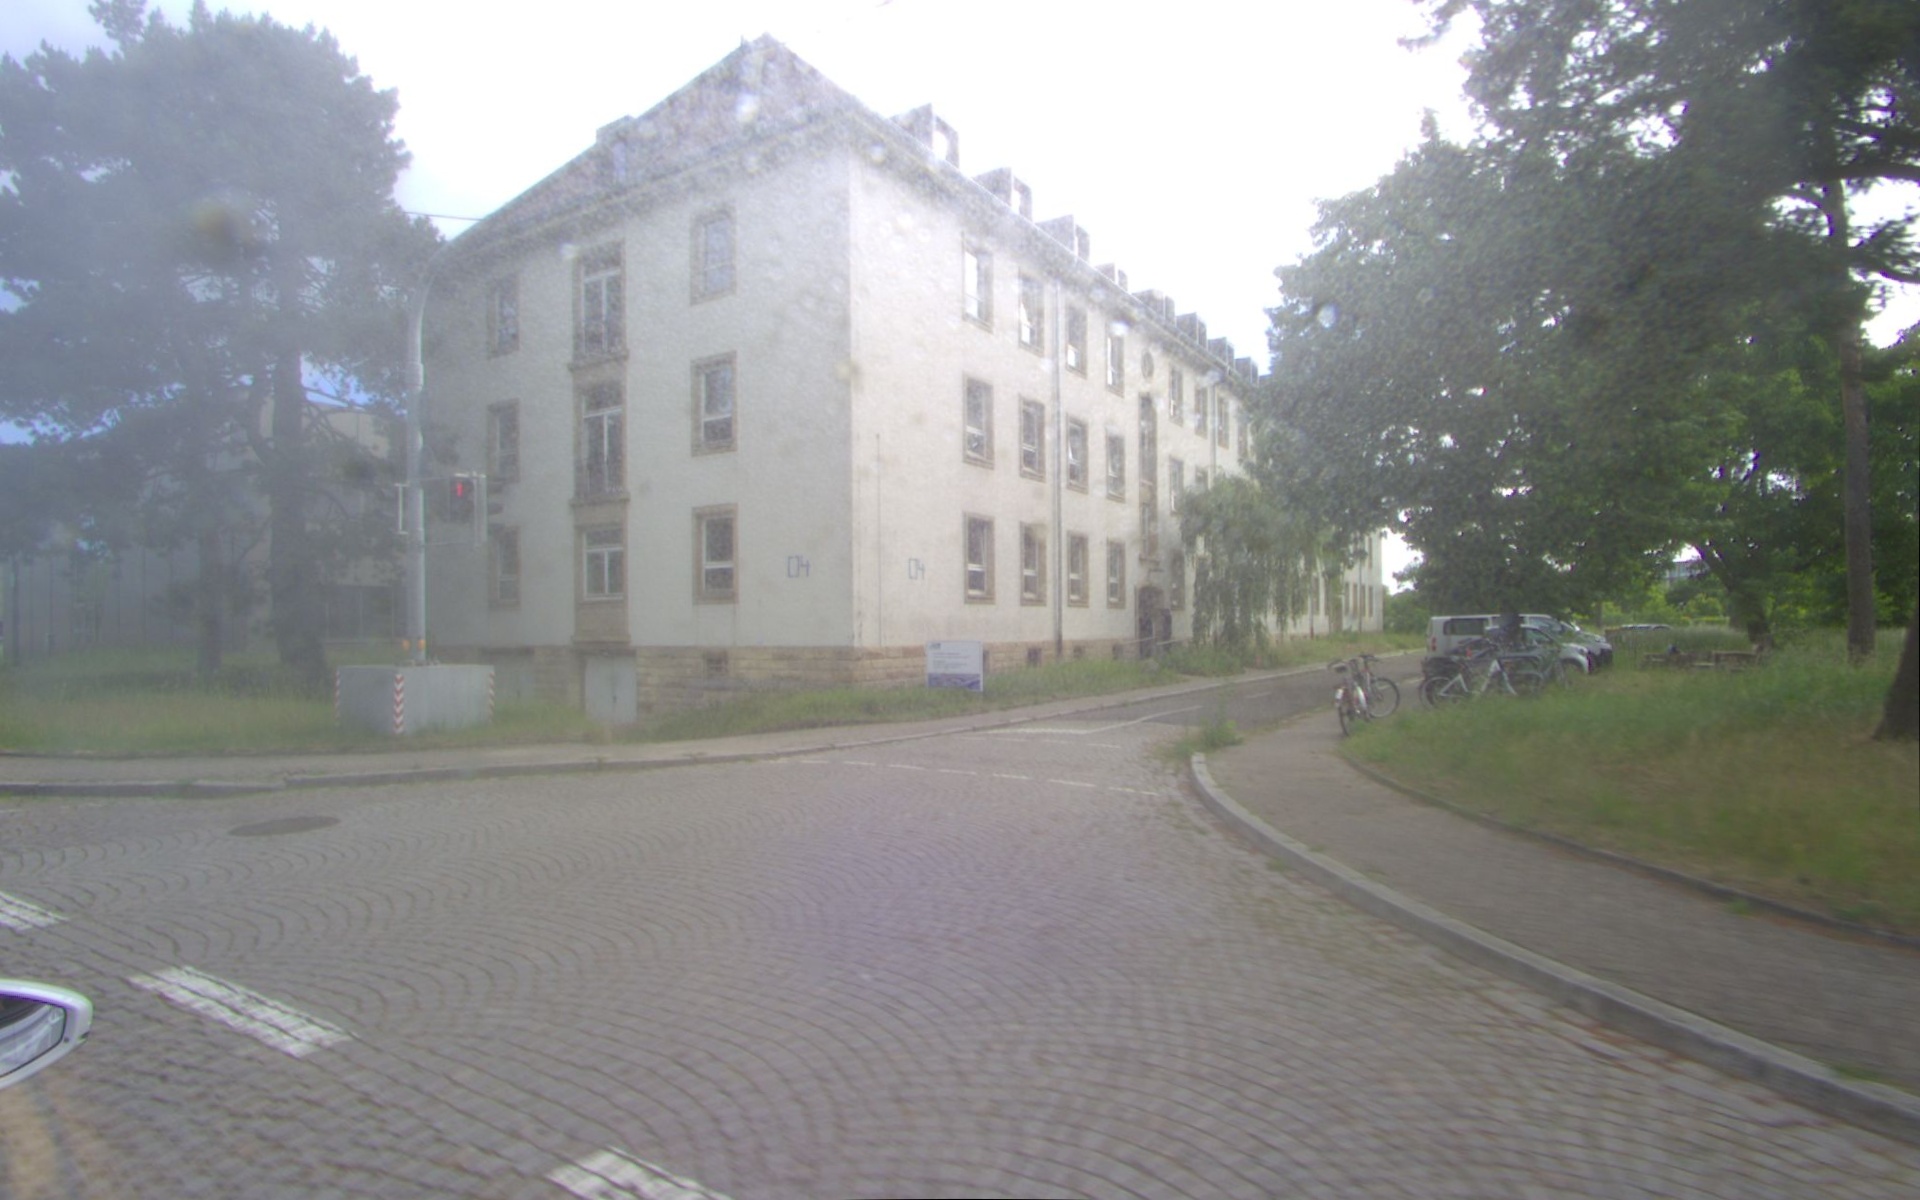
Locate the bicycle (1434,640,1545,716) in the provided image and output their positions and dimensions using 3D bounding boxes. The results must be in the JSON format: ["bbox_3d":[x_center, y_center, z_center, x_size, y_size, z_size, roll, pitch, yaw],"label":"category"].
[{"bbox_3d":[9.038,1.303,17.128,1.618,1.231,0.539,-1,-1,38],"label":"bicycle"}]

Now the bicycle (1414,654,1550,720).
[{"bbox_3d":[8.370,1.370,16.095,1.878,0.961,0.539,-1,-1,38],"label":"bicycle"}]

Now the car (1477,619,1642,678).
[{"bbox_3d":[16.777,1.311,28.098,3.878,1.550,1.852,-1,-1,34],"label":"car"}]

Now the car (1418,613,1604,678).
[{"bbox_3d":[17.286,1.399,31.697,4.775,1.934,2.237,0,-1,17],"label":"car"}]

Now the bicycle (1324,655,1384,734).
[{"bbox_3d":[5.526,1.295,14.008,0.522,0.992,1.618,0,-1,31],"label":"bicycle"}]

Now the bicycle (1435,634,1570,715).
[{"bbox_3d":[9.438,1.260,17.472,2.022,1.337,0.436,-1,-1,38],"label":"bicycle"}]

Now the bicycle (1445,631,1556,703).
[{"bbox_3d":[10.439,1.268,19.367,1.829,1.337,0.553,-1,-1,38],"label":"bicycle"}]

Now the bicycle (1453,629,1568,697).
[{"bbox_3d":[11.757,1.319,21.430,2.076,1.385,0.754,-1,-1,38],"label":"bicycle"}]

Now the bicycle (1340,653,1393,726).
[{"bbox_3d":[6.329,1.363,15.570,0.535,1.027,1.534,0,-1,31],"label":"bicycle"}]

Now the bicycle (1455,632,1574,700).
[{"bbox_3d":[11.481,1.335,20.764,2.105,1.337,0.553,-1,-1,38],"label":"bicycle"}]

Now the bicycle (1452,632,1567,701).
[{"bbox_3d":[11.125,1.314,20.319,1.990,1.337,0.538,-1,-1,38],"label":"bicycle"}]

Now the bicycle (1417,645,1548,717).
[{"bbox_3d":[8.672,1.326,16.676,1.878,1.115,0.539,-1,-1,38],"label":"bicycle"}]

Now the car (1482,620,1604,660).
[{"bbox_3d":[25.131,1.707,43.185,4.453,1.639,1.989,-1,-2,33],"label":"car"}]

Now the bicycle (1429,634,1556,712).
[{"bbox_3d":[9.578,1.286,18.056,1.950,1.337,0.574,-1,-1,38],"label":"bicycle"}]

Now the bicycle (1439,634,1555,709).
[{"bbox_3d":[10.134,1.326,18.933,1.894,1.337,0.390,-1,-1,38],"label":"bicycle"}]

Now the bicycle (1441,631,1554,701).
[{"bbox_3d":[10.676,1.292,19.937,1.914,1.337,0.551,-1,-1,38],"label":"bicycle"}]

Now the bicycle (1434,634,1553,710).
[{"bbox_3d":[9.872,1.310,18.567,1.895,1.337,0.504,-1,-1,38],"label":"bicycle"}]
